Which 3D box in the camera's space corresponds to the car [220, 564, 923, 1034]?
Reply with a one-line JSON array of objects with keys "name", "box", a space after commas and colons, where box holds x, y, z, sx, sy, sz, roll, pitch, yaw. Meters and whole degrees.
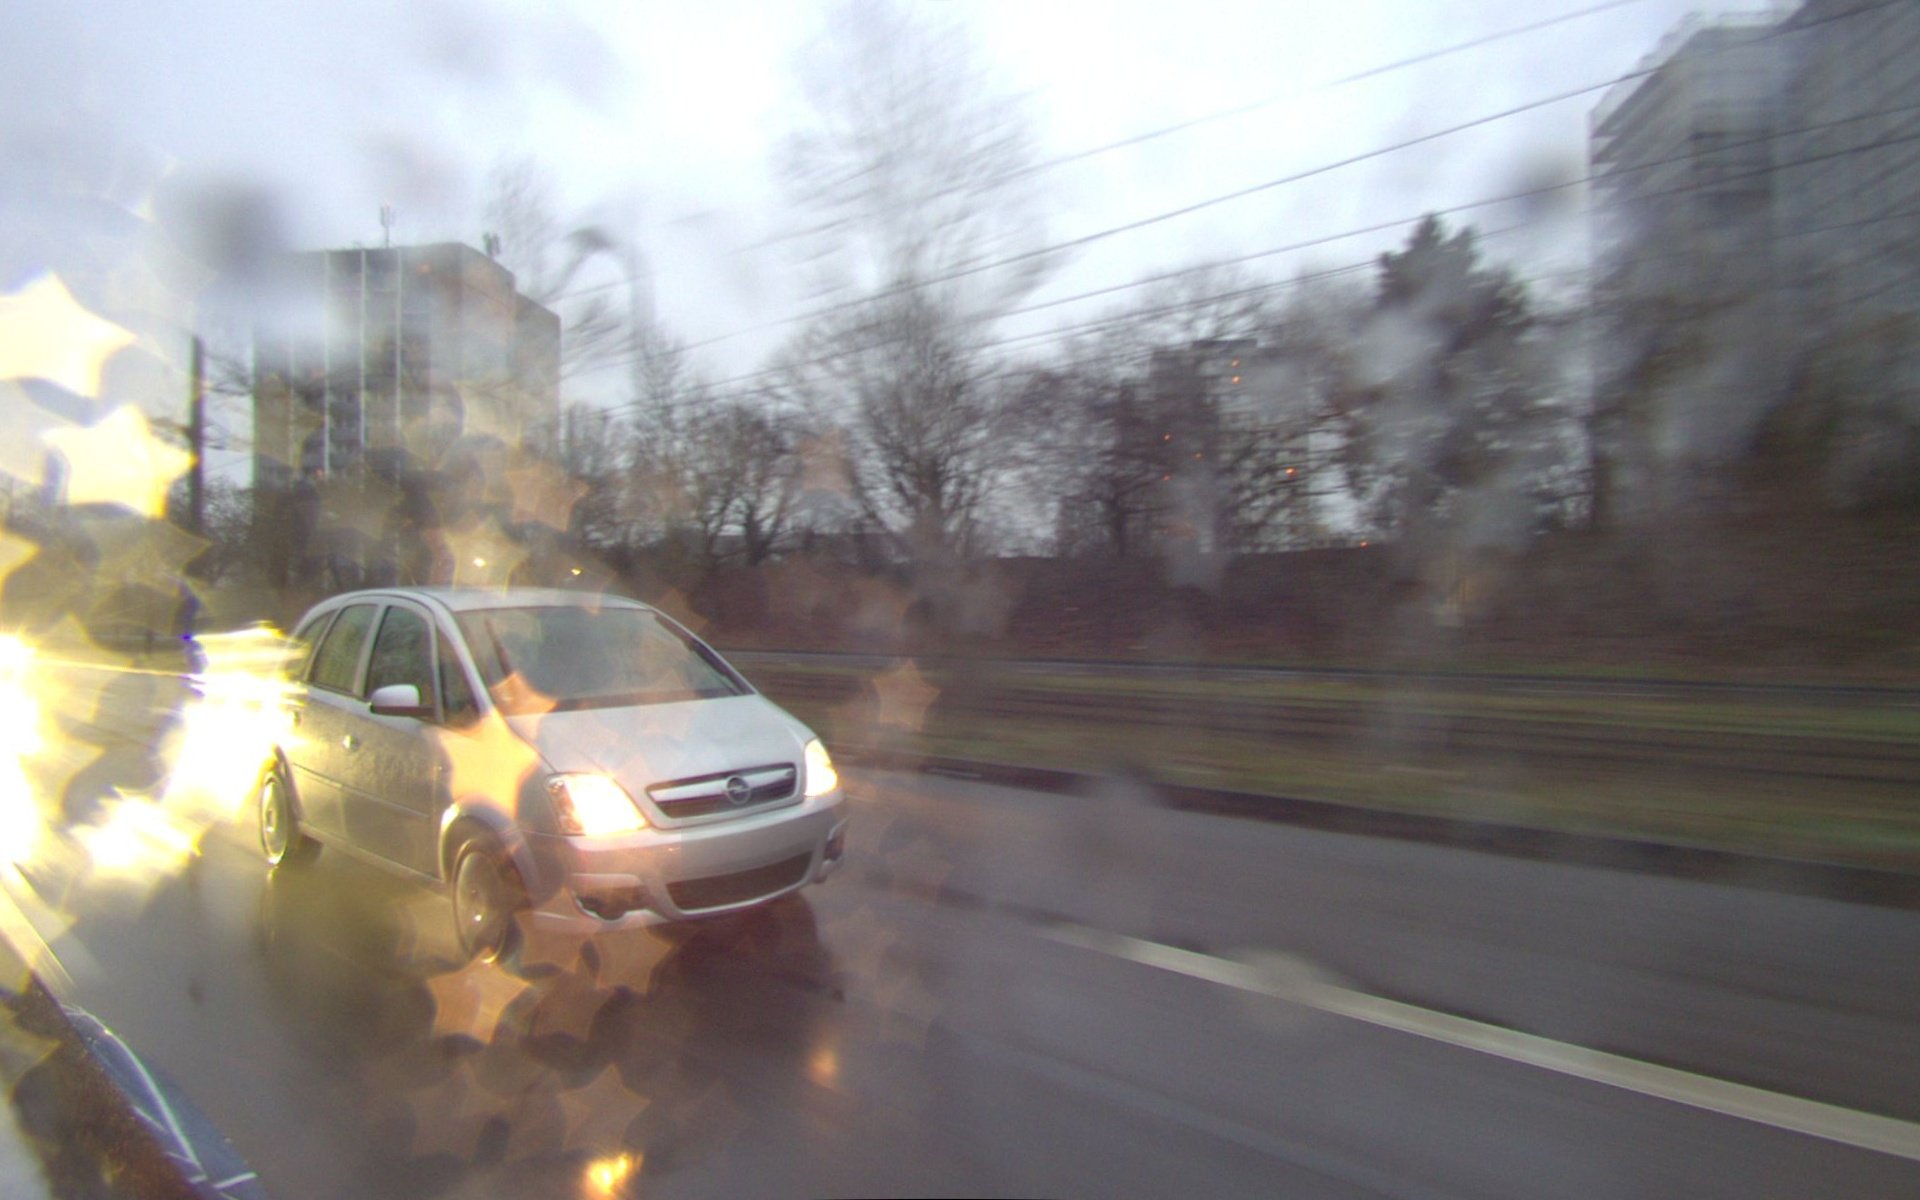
[{"name": "car", "box": [-2.305, 0.679, 5.348, 4.187, 1.551, 1.672, -1, 0, 41]}]

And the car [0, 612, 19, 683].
[{"name": "car", "box": [-23.914, 1.101, 23.897, 4.120, 1.612, 1.928, -1, -1, 39]}]
